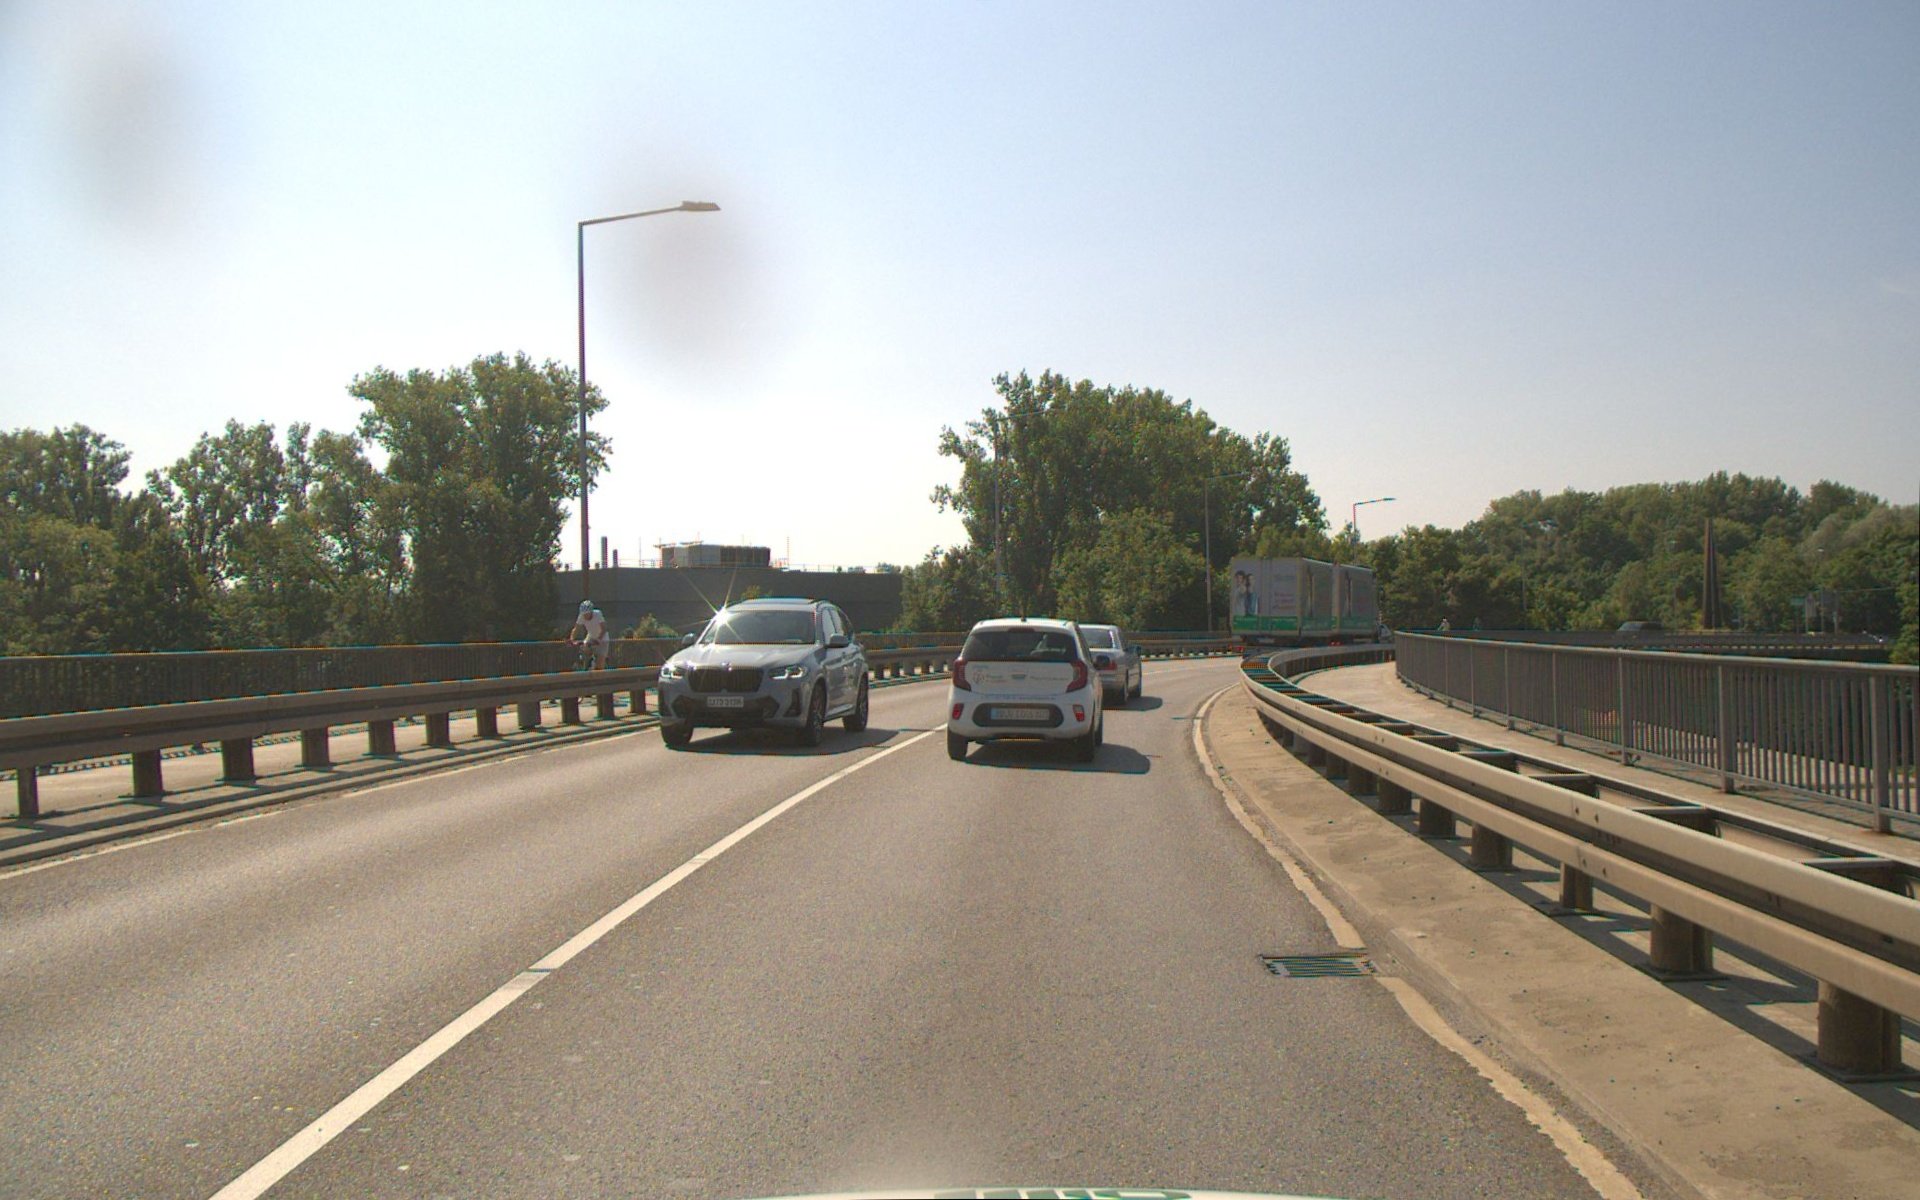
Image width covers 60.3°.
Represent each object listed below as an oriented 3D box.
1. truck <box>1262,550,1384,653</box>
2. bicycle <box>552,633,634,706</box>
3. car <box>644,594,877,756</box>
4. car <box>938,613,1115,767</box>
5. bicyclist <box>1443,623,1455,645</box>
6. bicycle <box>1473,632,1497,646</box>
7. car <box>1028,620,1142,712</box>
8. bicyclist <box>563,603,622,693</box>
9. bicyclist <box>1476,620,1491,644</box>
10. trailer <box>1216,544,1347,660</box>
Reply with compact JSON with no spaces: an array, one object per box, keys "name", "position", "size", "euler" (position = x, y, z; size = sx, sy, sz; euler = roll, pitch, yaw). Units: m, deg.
[{"name":"truck","position":[14.936,0.057,67.477],"size":[3.195,3.823,8.367],"euler":[2,1,23]},{"name":"bicycle","position":[-6.096,1.150,27.580],"size":[0.599,1.155,2.150],"euler":[-3,-2,8]},{"name":"car","position":[-2.311,0.887,20.440],"size":[1.818,1.712,4.476],"euler":[2,-2,7]},{"name":"car","position":[0.865,1.005,19.047],"size":[1.665,1.520,4.002],"euler":[2,-2,7]},{"name":"bicyclist","position":[31.831,2.210,107.667],"size":[0.479,1.352,0.944],"euler":[1,-2,33]},{"name":"bicycle","position":[34.885,2.606,109.915],"size":[0.913,0.906,1.958],"euler":[0,-1,38]},{"name":"car","position":[2.350,1.149,30.548],"size":[1.898,1.512,4.903],"euler":[1,-1,5]},{"name":"bicyclist","position":[-6.115,0.802,27.564],"size":[0.595,1.464,1.079],"euler":[-2,-2,7]},{"name":"bicyclist","position":[34.782,2.124,109.829],"size":[0.649,1.522,1.012],"euler":[1,1,37]},{"name":"trailer","position":[11.822,0.051,60.158],"size":[3.159,3.823,7.824],"euler":[2,1,22]}]
